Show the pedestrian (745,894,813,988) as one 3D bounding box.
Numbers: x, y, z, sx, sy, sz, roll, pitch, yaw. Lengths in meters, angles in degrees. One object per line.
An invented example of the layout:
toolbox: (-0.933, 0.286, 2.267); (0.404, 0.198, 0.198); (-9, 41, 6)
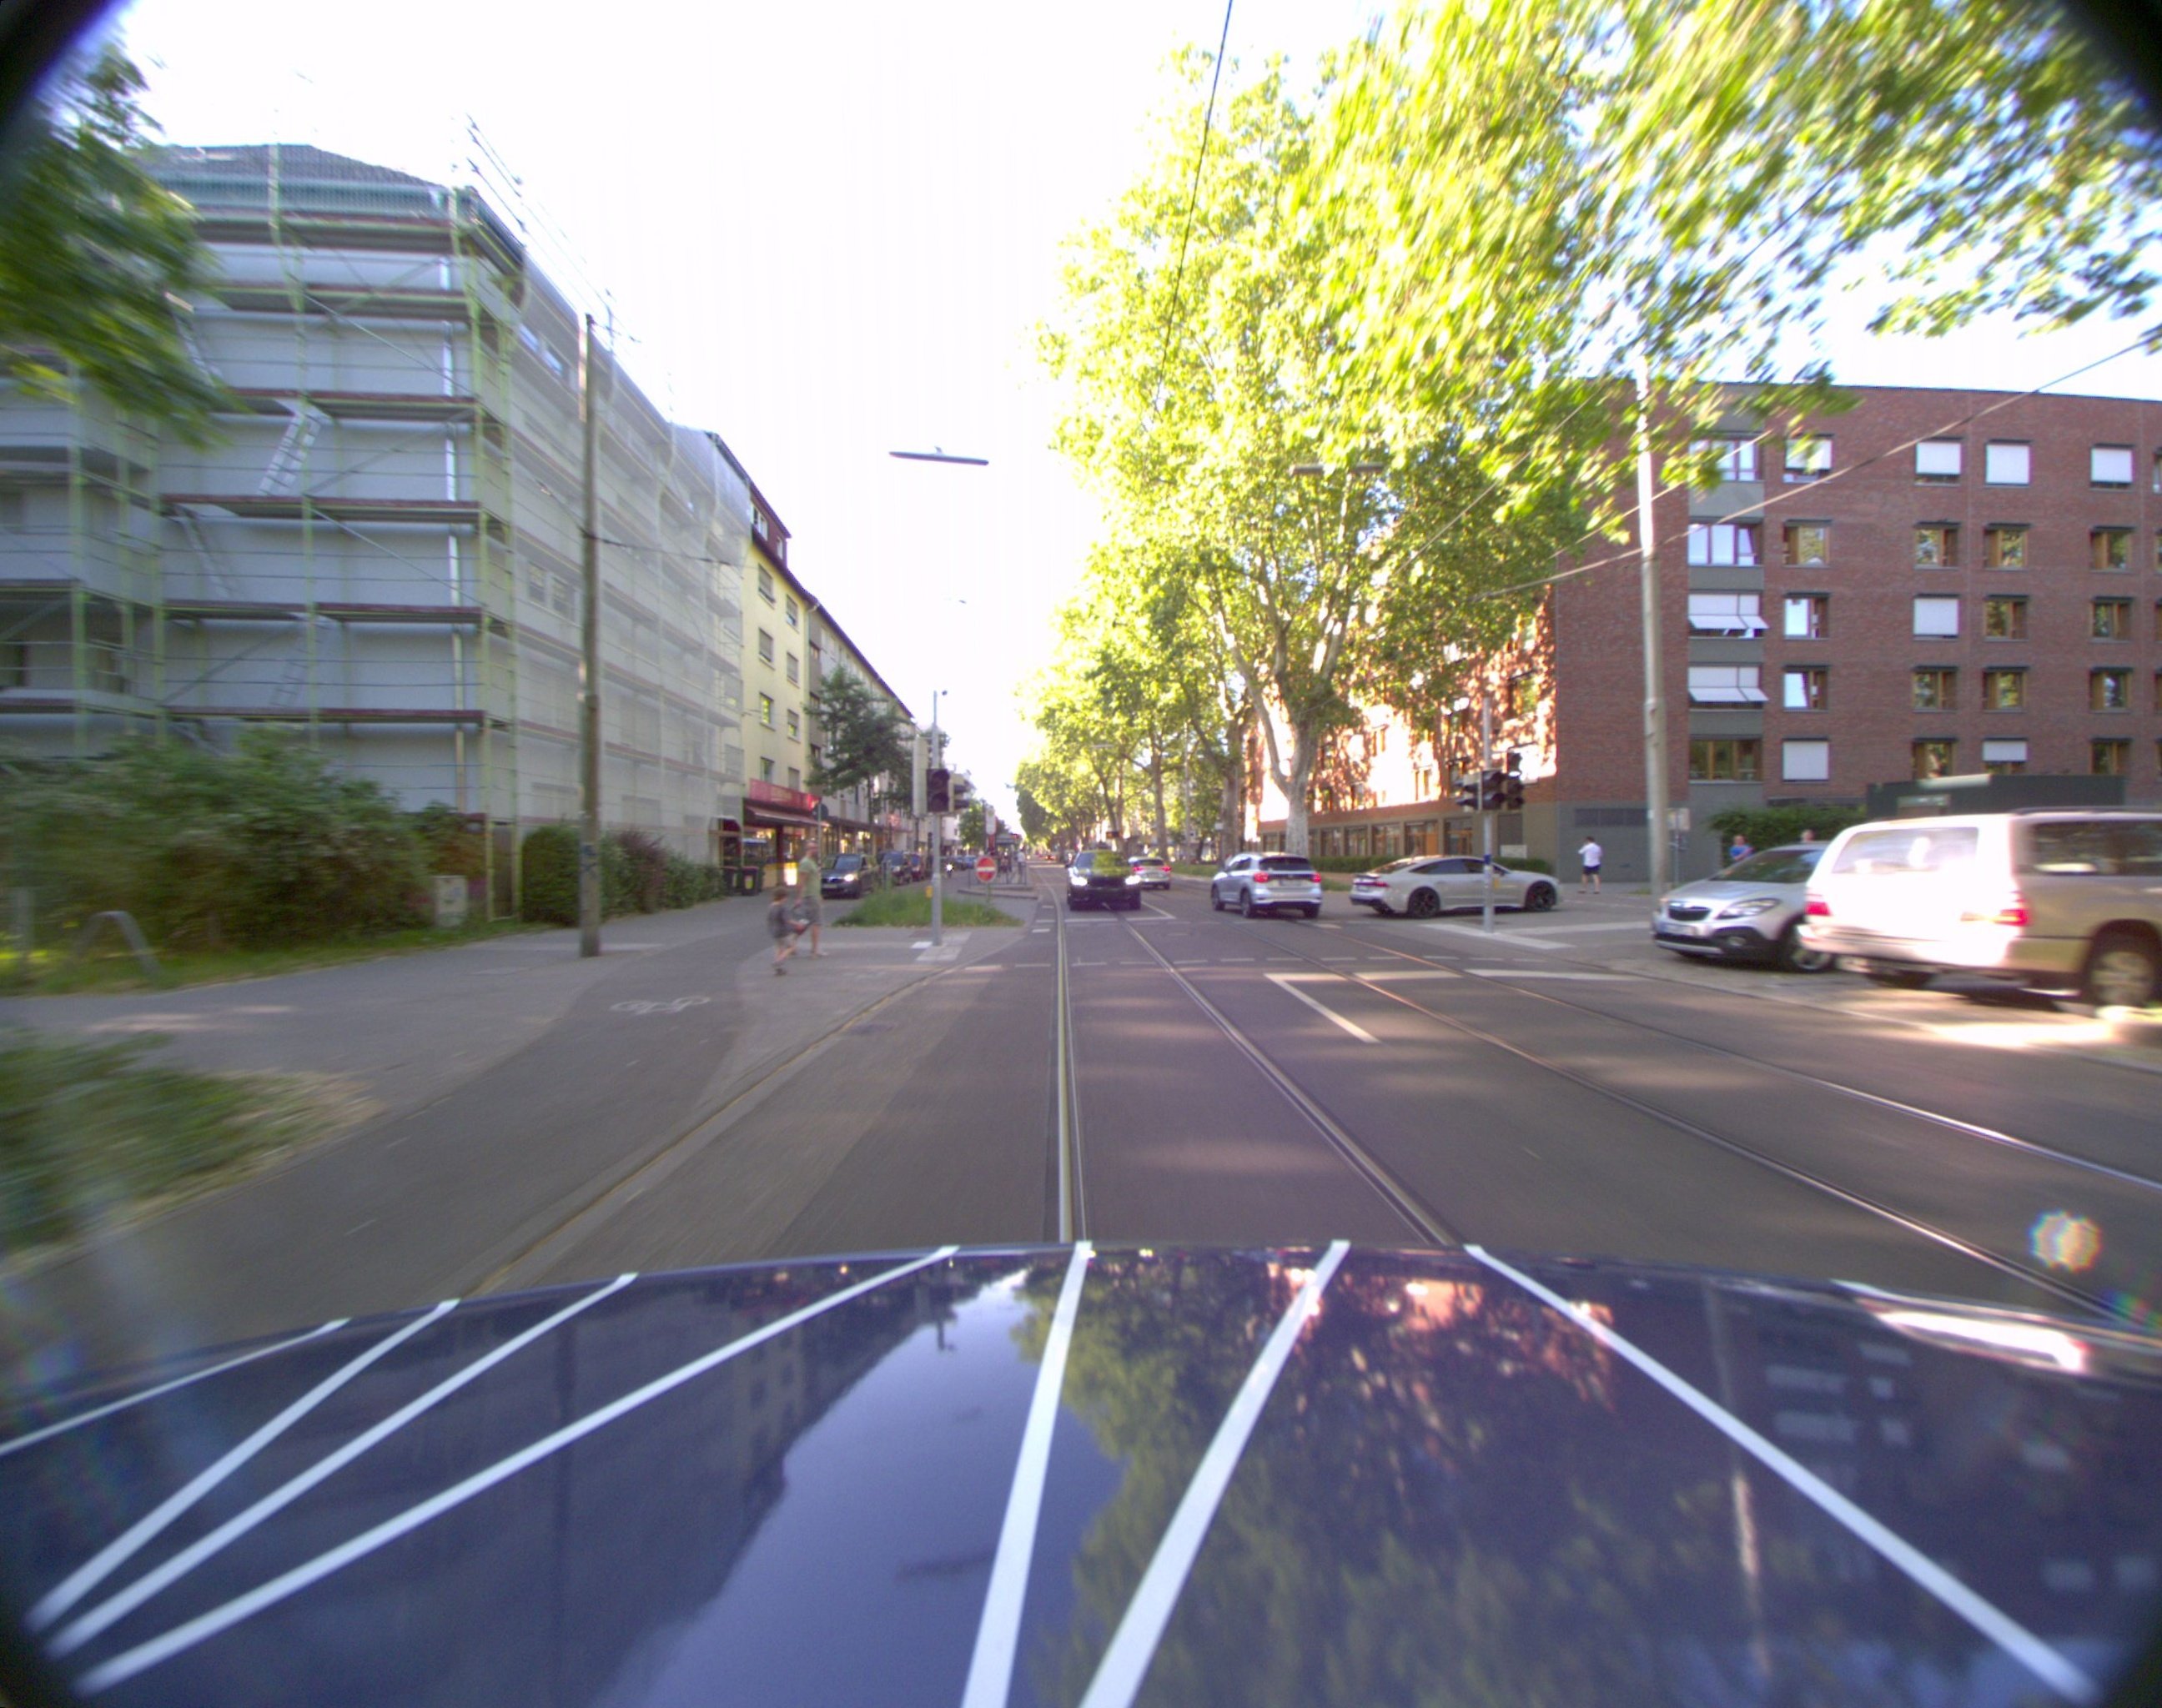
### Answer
pedestrian: (-3.962, 1.118, 9.964); (0.677, 1.112, 0.658); (-2, 1, -33)

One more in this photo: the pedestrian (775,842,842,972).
pedestrian: (-4.219, 0.772, 11.739); (0.871, 1.874, 0.996); (-2, 1, -22)

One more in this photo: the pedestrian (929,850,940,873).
pedestrian: (-11.572, 0.586, 59.973); (0.680, 1.795, 0.772); (-2, 2, -7)

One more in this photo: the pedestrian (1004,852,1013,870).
pedestrian: (-5.433, 0.501, 57.122); (0.586, 1.298, 0.526); (-2, 1, -15)

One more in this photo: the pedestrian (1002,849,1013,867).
pedestrian: (-6.652, 0.340, 68.592); (0.648, 1.567, 0.855); (-1, 1, 14)

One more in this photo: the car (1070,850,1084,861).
car: (-0.791, 0.216, 137.146); (2.041, 1.881, 5.070); (-2, 1, -4)

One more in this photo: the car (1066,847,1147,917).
car: (0.606, 0.686, 22.037); (1.937, 1.719, 5.071); (-2, 1, -2)

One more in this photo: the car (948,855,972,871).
car: (-12.781, 0.905, 80.571); (1.959, 1.474, 4.658); (-2, 1, -2)

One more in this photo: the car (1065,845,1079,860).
car: (-1.767, -0.277, 147.272); (2.430, 2.833, 5.070); (-2, 1, -4)

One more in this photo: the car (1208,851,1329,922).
car: (4.581, 0.737, 19.211); (1.821, 1.559, 4.114); (0, 1, -4)

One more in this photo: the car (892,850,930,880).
car: (-10.610, 0.643, 47.626); (1.693, 1.745, 4.171); (-2, 1, -5)

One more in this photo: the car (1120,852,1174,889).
car: (2.893, 0.694, 34.135); (1.780, 1.452, 4.202); (-2, 1, -3)

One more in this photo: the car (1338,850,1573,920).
car: (8.975, 0.697, 18.420); (4.778, 1.452, 1.954); (-2, 1, -5)

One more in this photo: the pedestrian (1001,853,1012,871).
pedestrian: (-5.556, 0.564, 56.648); (0.721, 1.318, 0.492); (-2, 1, -15)

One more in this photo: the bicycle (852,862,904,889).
bicycle: (-9.713, 1.016, 36.386); (2.210, 1.203, 1.029); (1, 1, -4)

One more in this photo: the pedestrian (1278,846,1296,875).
pedestrian: (12.095, 0.378, 44.623); (0.740, 1.663, 0.968); (-2, 1, -2)

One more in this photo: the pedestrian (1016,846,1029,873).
pedestrian: (-3.816, 0.341, 49.624); (0.836, 1.703, 0.640); (-2, 1, -3)

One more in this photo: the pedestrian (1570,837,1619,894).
pedestrian: (15.922, 0.343, 23.595); (0.845, 1.727, 0.915); (-2, 1, -8)

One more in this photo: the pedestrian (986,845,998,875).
pedestrian: (-5.237, 0.349, 44.816); (0.493, 1.760, 0.704); (-1, 1, 11)

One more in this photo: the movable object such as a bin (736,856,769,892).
movable object such as a bin: (-12.781, 0.769, 29.578); (1.002, 1.389, 0.824); (1, 1, -6)

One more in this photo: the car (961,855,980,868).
car: (-13.276, 0.919, 91.562); (1.899, 1.477, 3.998); (-2, 1, -4)

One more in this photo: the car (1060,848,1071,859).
car: (-3.400, -0.168, 165.176); (2.143, 2.275, 4.963); (-2, 1, -4)

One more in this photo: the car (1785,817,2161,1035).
car: (10.151, 0.567, 7.542); (4.583, 1.823, 1.938); (-2, 1, -1)

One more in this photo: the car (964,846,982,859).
car: (-13.833, -0.172, 97.461); (1.999, 1.572, 3.998); (-2, 1, -4)

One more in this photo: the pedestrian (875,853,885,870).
pedestrian: (-14.771, 0.559, 55.929); (0.681, 1.198, 0.648); (-2, 1, -15)

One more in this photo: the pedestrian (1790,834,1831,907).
pedestrian: (17.383, 0.382, 18.106); (0.534, 1.695, 0.591); (-3, 2, -35)

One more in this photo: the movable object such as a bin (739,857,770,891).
movable object such as a bin: (-13.125, 0.784, 30.591); (0.926, 1.342, 0.824); (1, 1, -6)

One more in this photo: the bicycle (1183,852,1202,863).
bicycle: (12.903, 0.384, 87.625); (2.098, 1.182, 0.881); (-2, 1, 13)

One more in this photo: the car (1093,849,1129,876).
car: (1.875, 0.535, 49.143); (1.913, 1.628, 4.319); (0, 1, -3)

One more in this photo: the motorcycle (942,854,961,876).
motorcycle: (-9.160, 0.753, 53.712); (1.055, 1.446, 2.207); (-2, 1, -4)

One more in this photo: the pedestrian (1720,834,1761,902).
pedestrian: (16.465, 0.334, 18.970); (0.697, 1.650, 0.561); (-2, 1, -30)

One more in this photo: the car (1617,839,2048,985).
car: (9.907, 0.686, 10.232); (4.151, 1.637, 1.901); (-2, 1, -5)

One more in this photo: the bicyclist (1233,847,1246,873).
bicyclist: (11.084, 0.406, 53.182); (0.702, 1.777, 0.838); (-2, 1, -2)

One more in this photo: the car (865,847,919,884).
car: (-10.117, 0.572, 40.973); (1.999, 1.885, 4.193); (1, 0, -2)

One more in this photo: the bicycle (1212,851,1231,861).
bicycle: (16.186, 0.263, 87.672); (0.823, 1.088, 2.033); (-3, 1, -42)

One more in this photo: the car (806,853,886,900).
car: (-8.745, 0.775, 28.651); (1.767, 1.612, 4.440); (1, 0, -2)

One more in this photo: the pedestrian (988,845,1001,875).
pedestrian: (-5.041, 0.351, 44.147); (0.690, 1.745, 0.579); (-2, 1, -10)

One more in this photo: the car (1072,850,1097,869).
car: (0.276, 0.540, 74.201); (1.999, 1.706, 5.140); (-2, 1, -4)

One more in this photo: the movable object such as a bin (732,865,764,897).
movable object such as a bin: (-12.034, 0.962, 27.467); (0.883, 1.104, 0.696); (1, 1, -6)

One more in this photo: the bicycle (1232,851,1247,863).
bicycle: (11.070, 0.182, 53.130); (0.613, 0.798, 1.839); (-2, 1, -2)

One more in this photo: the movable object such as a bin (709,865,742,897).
movable object such as a bin: (-12.595, 0.957, 26.935); (0.883, 1.104, 0.696); (1, 1, -6)

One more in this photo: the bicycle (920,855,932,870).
bicycle: (-13.017, 0.705, 63.933); (0.773, 1.173, 2.781); (4, -1, -8)
